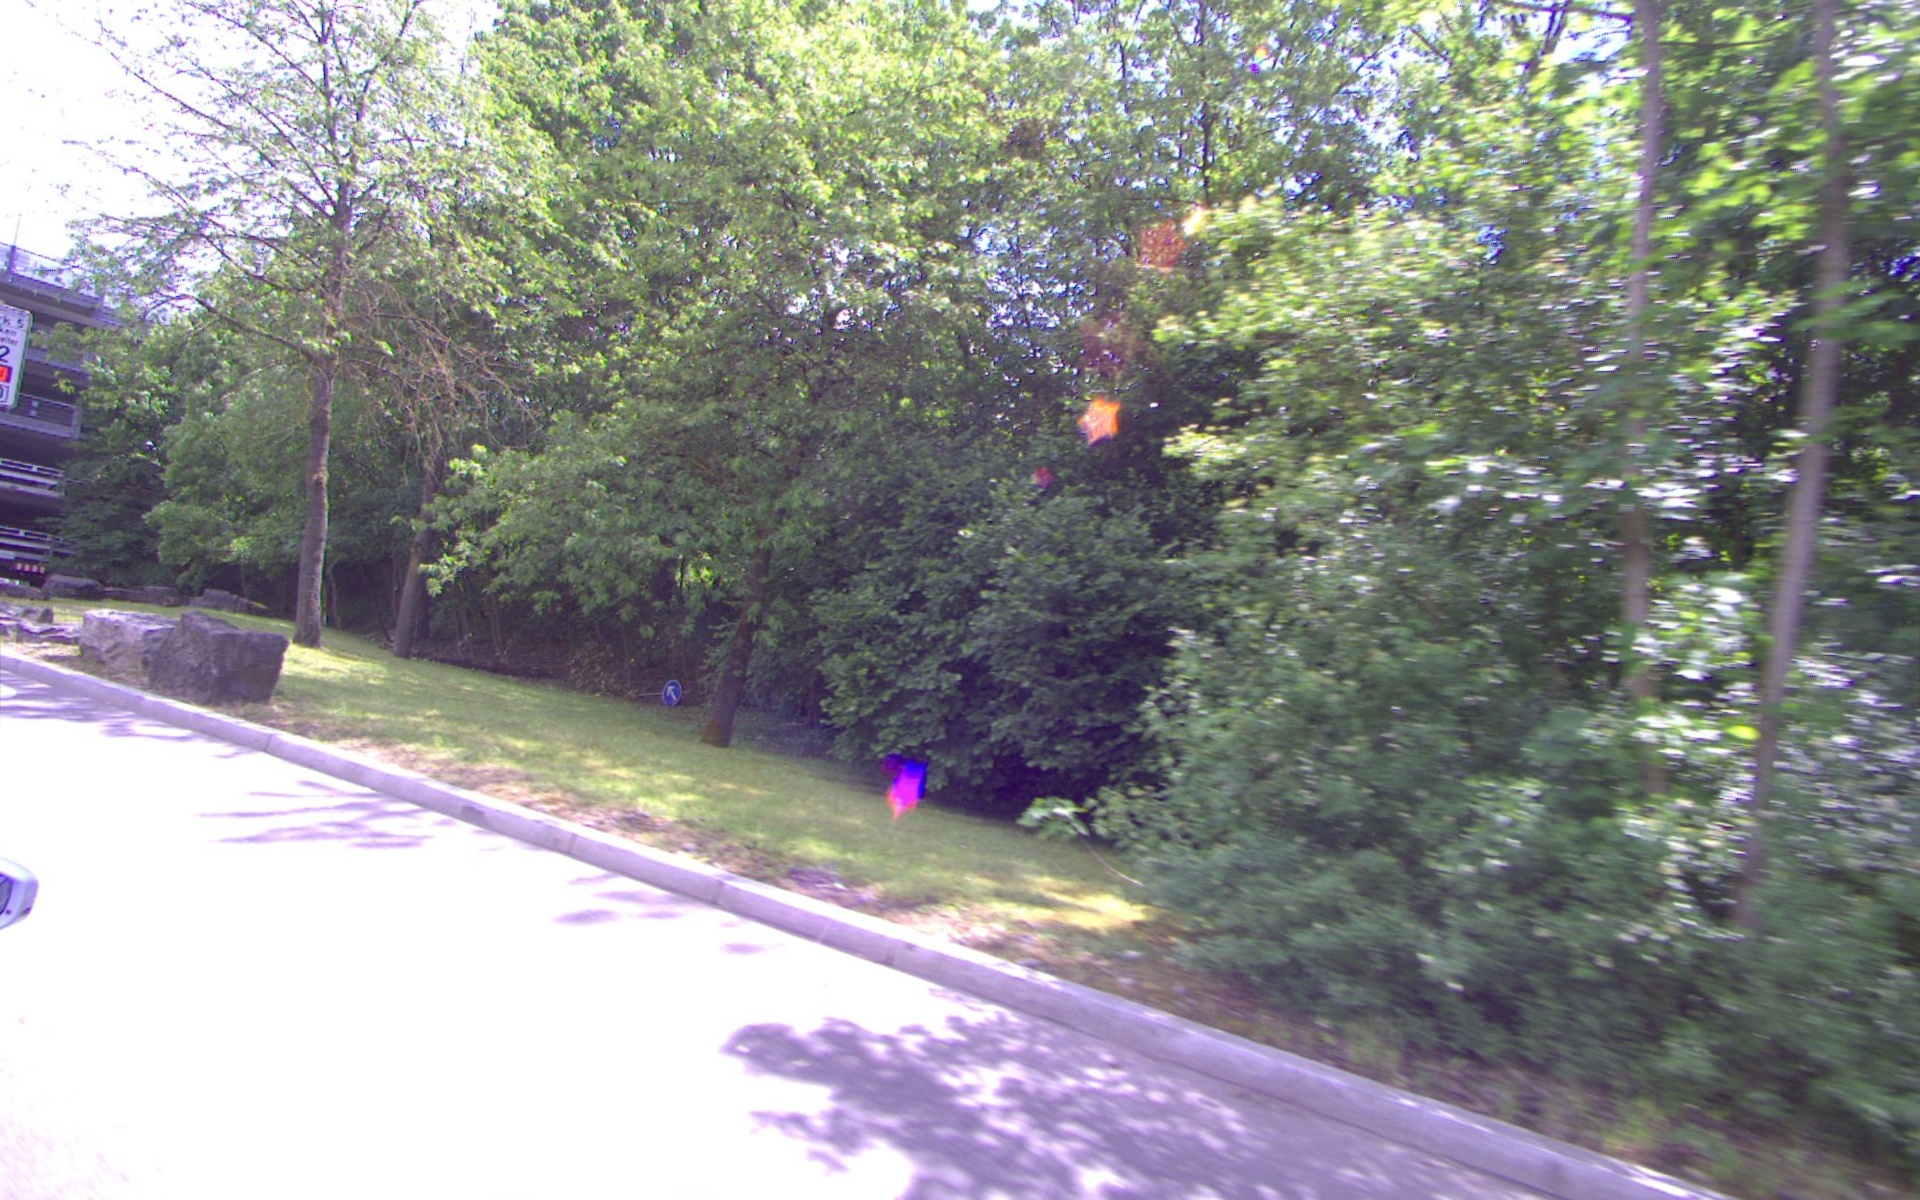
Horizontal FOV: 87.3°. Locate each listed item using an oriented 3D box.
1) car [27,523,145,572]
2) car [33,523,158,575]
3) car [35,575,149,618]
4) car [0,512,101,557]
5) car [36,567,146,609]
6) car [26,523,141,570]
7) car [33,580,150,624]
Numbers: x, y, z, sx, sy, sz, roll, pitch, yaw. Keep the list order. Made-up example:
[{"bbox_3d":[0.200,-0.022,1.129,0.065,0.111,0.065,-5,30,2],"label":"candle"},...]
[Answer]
[{"bbox_3d":[-44.588,-2.681,51.369,4.308,1.647,1.975,12,-5,-44],"label":"car"},{"bbox_3d":[-41.307,-2.408,48.129,4.308,1.647,1.975,12,-5,-44],"label":"car"},{"bbox_3d":[-45.548,-0.156,52.815,4.308,1.504,1.975,12,-5,-44],"label":"car"},{"bbox_3d":[-51.490,-3.681,56.774,4.308,1.647,1.975,12,-5,-44],"label":"car"},{"bbox_3d":[-47.121,-0.628,54.603,4.308,1.504,1.975,12,-5,-44],"label":"car"},{"bbox_3d":[-45.991,-2.783,52.851,4.308,1.647,1.975,12,-5,-44],"label":"car"},{"bbox_3d":[-44.148,0.120,51.197,4.308,1.433,1.975,12,-5,-44],"label":"car"}]
